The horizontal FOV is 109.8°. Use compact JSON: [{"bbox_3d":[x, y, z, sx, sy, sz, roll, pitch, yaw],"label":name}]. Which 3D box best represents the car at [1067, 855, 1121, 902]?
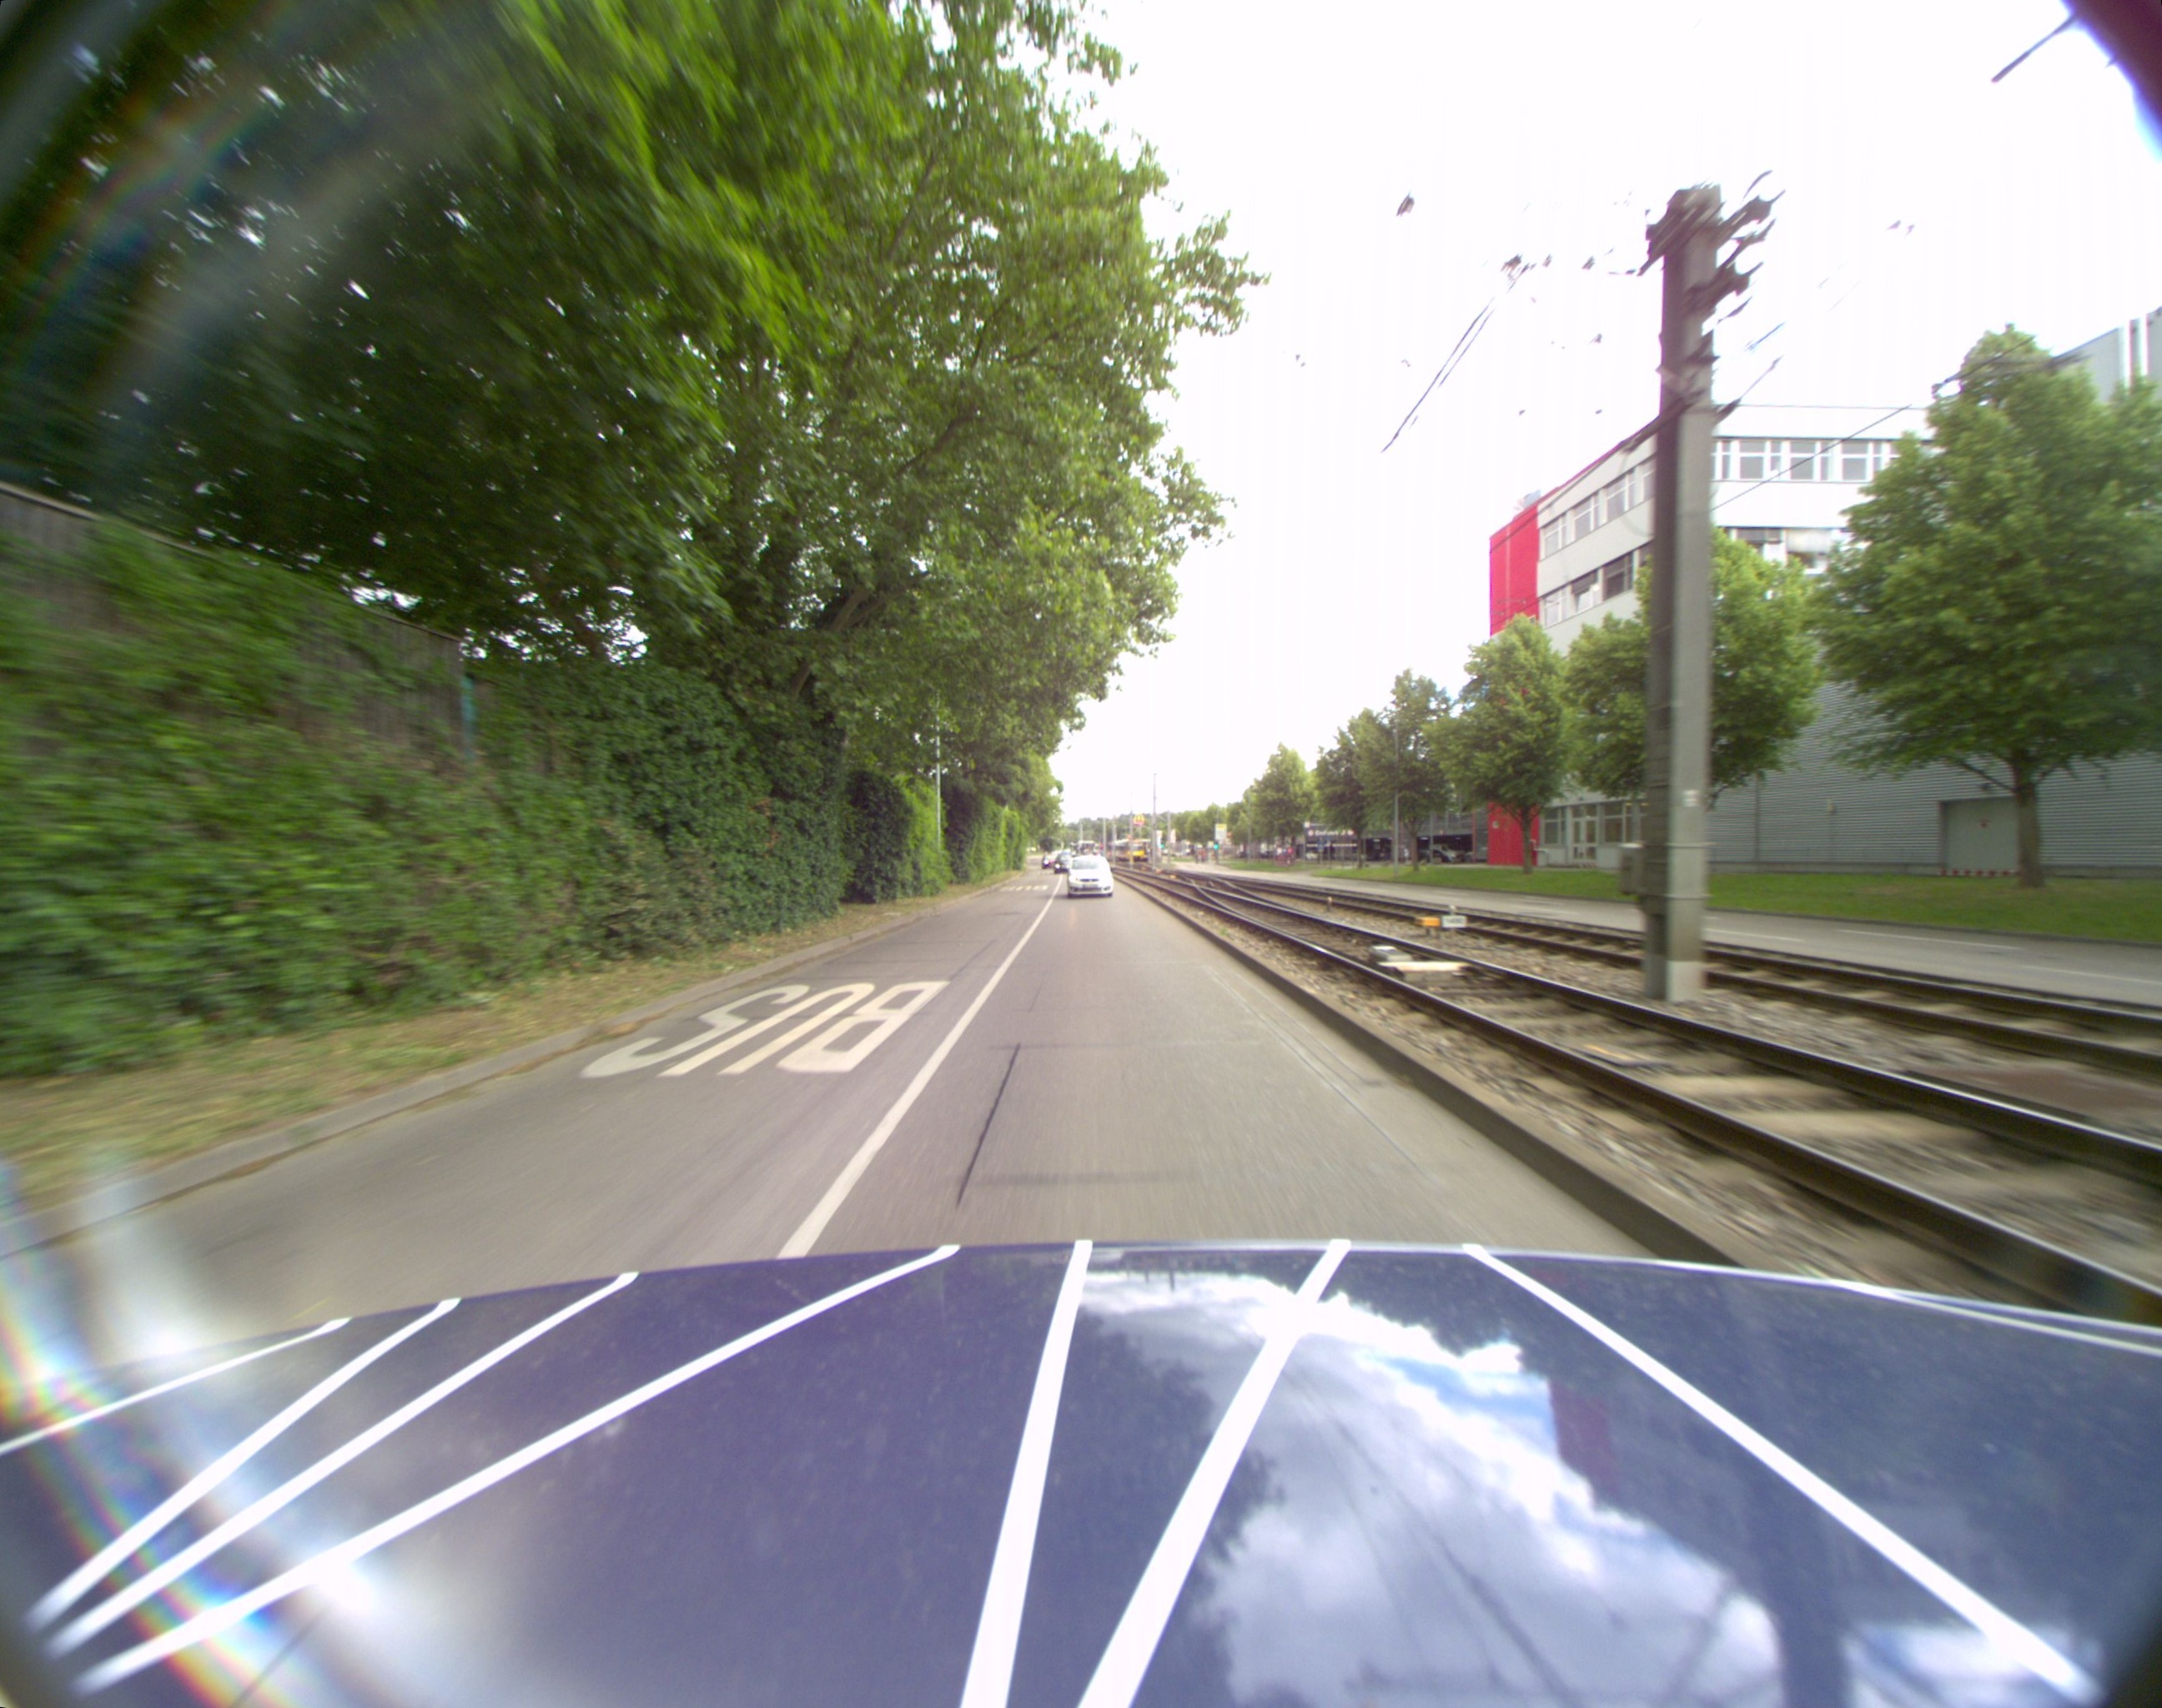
[{"bbox_3d":[0.443,0.828,27.375,1.764,1.469,4.031,-2,0,0],"label":"car"}]

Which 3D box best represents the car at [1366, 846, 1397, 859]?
[{"bbox_3d":[38.627,-0.212,97.805,1.999,1.618,4.404,-1,0,-2],"label":"car"}]

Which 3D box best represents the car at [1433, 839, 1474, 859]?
[{"bbox_3d":[39.900,-0.521,81.516,1.999,2.002,4.404,-1,0,-2],"label":"car"}]

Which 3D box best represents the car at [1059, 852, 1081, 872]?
[{"bbox_3d":[-0.916,0.657,64.888,1.714,1.586,4.000,-1,0,1],"label":"car"}]

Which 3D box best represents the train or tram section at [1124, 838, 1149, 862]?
[{"bbox_3d":[8.912,-0.648,124.266,2.778,3.753,13.785,-1,0,-1],"label":"train or tram section"}]

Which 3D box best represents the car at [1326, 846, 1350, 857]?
[{"bbox_3d":[38.764,-0.348,114.581,1.999,1.689,4.404,-1,0,-2],"label":"car"}]
